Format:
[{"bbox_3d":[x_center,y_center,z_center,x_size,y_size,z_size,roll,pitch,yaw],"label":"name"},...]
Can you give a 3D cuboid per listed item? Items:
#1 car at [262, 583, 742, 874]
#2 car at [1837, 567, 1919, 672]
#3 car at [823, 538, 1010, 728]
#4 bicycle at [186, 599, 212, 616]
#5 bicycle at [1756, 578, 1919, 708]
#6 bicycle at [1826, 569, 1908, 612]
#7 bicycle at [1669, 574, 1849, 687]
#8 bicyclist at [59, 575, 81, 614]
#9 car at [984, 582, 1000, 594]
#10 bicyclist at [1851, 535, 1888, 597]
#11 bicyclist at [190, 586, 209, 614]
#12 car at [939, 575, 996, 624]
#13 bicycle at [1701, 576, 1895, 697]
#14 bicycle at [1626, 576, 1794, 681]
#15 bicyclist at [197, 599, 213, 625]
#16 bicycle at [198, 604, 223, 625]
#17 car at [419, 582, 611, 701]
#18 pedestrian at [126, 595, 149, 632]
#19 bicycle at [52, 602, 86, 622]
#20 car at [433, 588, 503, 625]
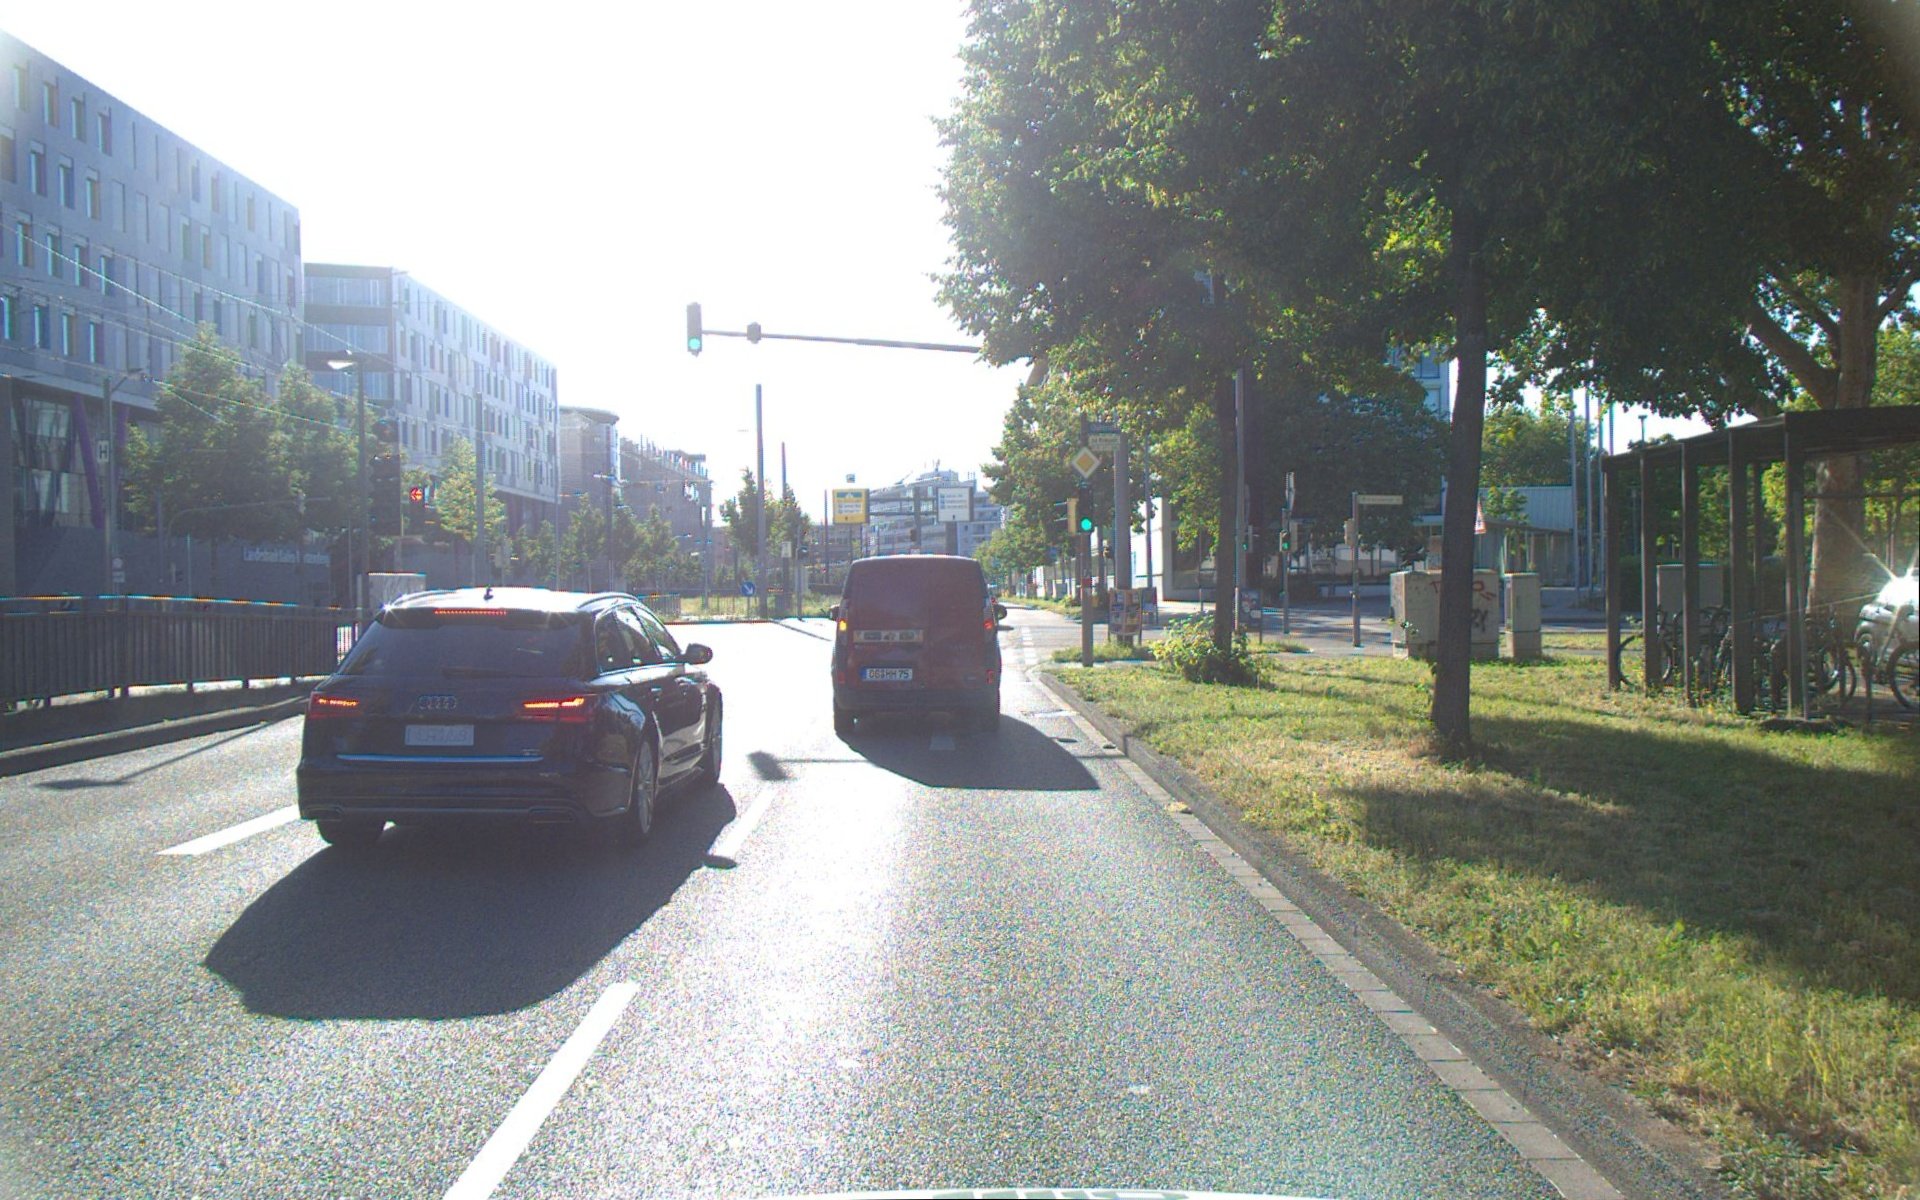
[{"bbox_3d":[-2.615,0.629,10.674,1.775,1.452,4.689,1,0,0],"label":"car"},{"bbox_3d":[14.493,0.267,23.670,1.854,1.491,4.038,0,1,2],"label":"car"},{"bbox_3d":[-0.465,0.306,18.240,1.811,1.846,4.113,0,0,-1],"label":"car"},{"bbox_3d":[-40.276,0.404,87.548,0.564,0.878,1.692,-1,1,0],"label":"bicycle"},{"bbox_3d":[8.494,0.394,15.534,1.765,1.189,0.551,0,0,2],"label":"bicycle"},{"bbox_3d":[26.386,-0.271,48.152,2.056,1.224,0.551,-1,1,26],"label":"bicycle"},{"bbox_3d":[8.584,0.320,17.797,1.661,1.189,0.551,0,0,2],"label":"bicycle"},{"bbox_3d":[-40.438,-0.252,75.135,0.519,1.756,0.837,-1,1,0],"label":"bicyclist"},{"bbox_3d":[4.177,-1.620,217.550,1.815,1.506,4.852,-3,1,-2],"label":"car"},{"bbox_3d":[26.464,-0.986,48.122,0.857,1.767,0.832,-1,1,26],"label":"bicyclist"},{"bbox_3d":[-40.281,-0.019,87.589,0.558,1.460,0.958,-1,1,0],"label":"bicyclist"},{"bbox_3d":[0.203,-0.035,54.972,1.815,1.573,3.999,0,1,-1],"label":"car"},{"bbox_3d":[8.390,0.359,16.584,1.661,1.189,0.551,0,0,1],"label":"bicycle"},{"bbox_3d":[8.574,0.321,18.951,1.660,1.189,0.552,0,0,8],"label":"bicycle"},{"bbox_3d":[-43.967,0.684,96.354,0.547,1.522,0.763,-1,0,-1],"label":"bicyclist"},{"bbox_3d":[-43.663,0.838,96.358,0.509,1.193,1.975,-1,0,-1],"label":"bicycle"},{"bbox_3d":[-5.925,0.496,22.456,1.637,1.451,4.004,0,0,-2],"label":"car"},{"bbox_3d":[-42.739,0.703,85.976,0.706,1.853,0.871,-1,1,-1],"label":"pedestrian"},{"bbox_3d":[-40.422,0.549,75.076,0.517,0.878,1.834,-1,1,0],"label":"bicycle"},{"bbox_3d":[-22.801,0.280,76.844,1.953,1.589,4.870,-1,1,-2],"label":"car"}]
